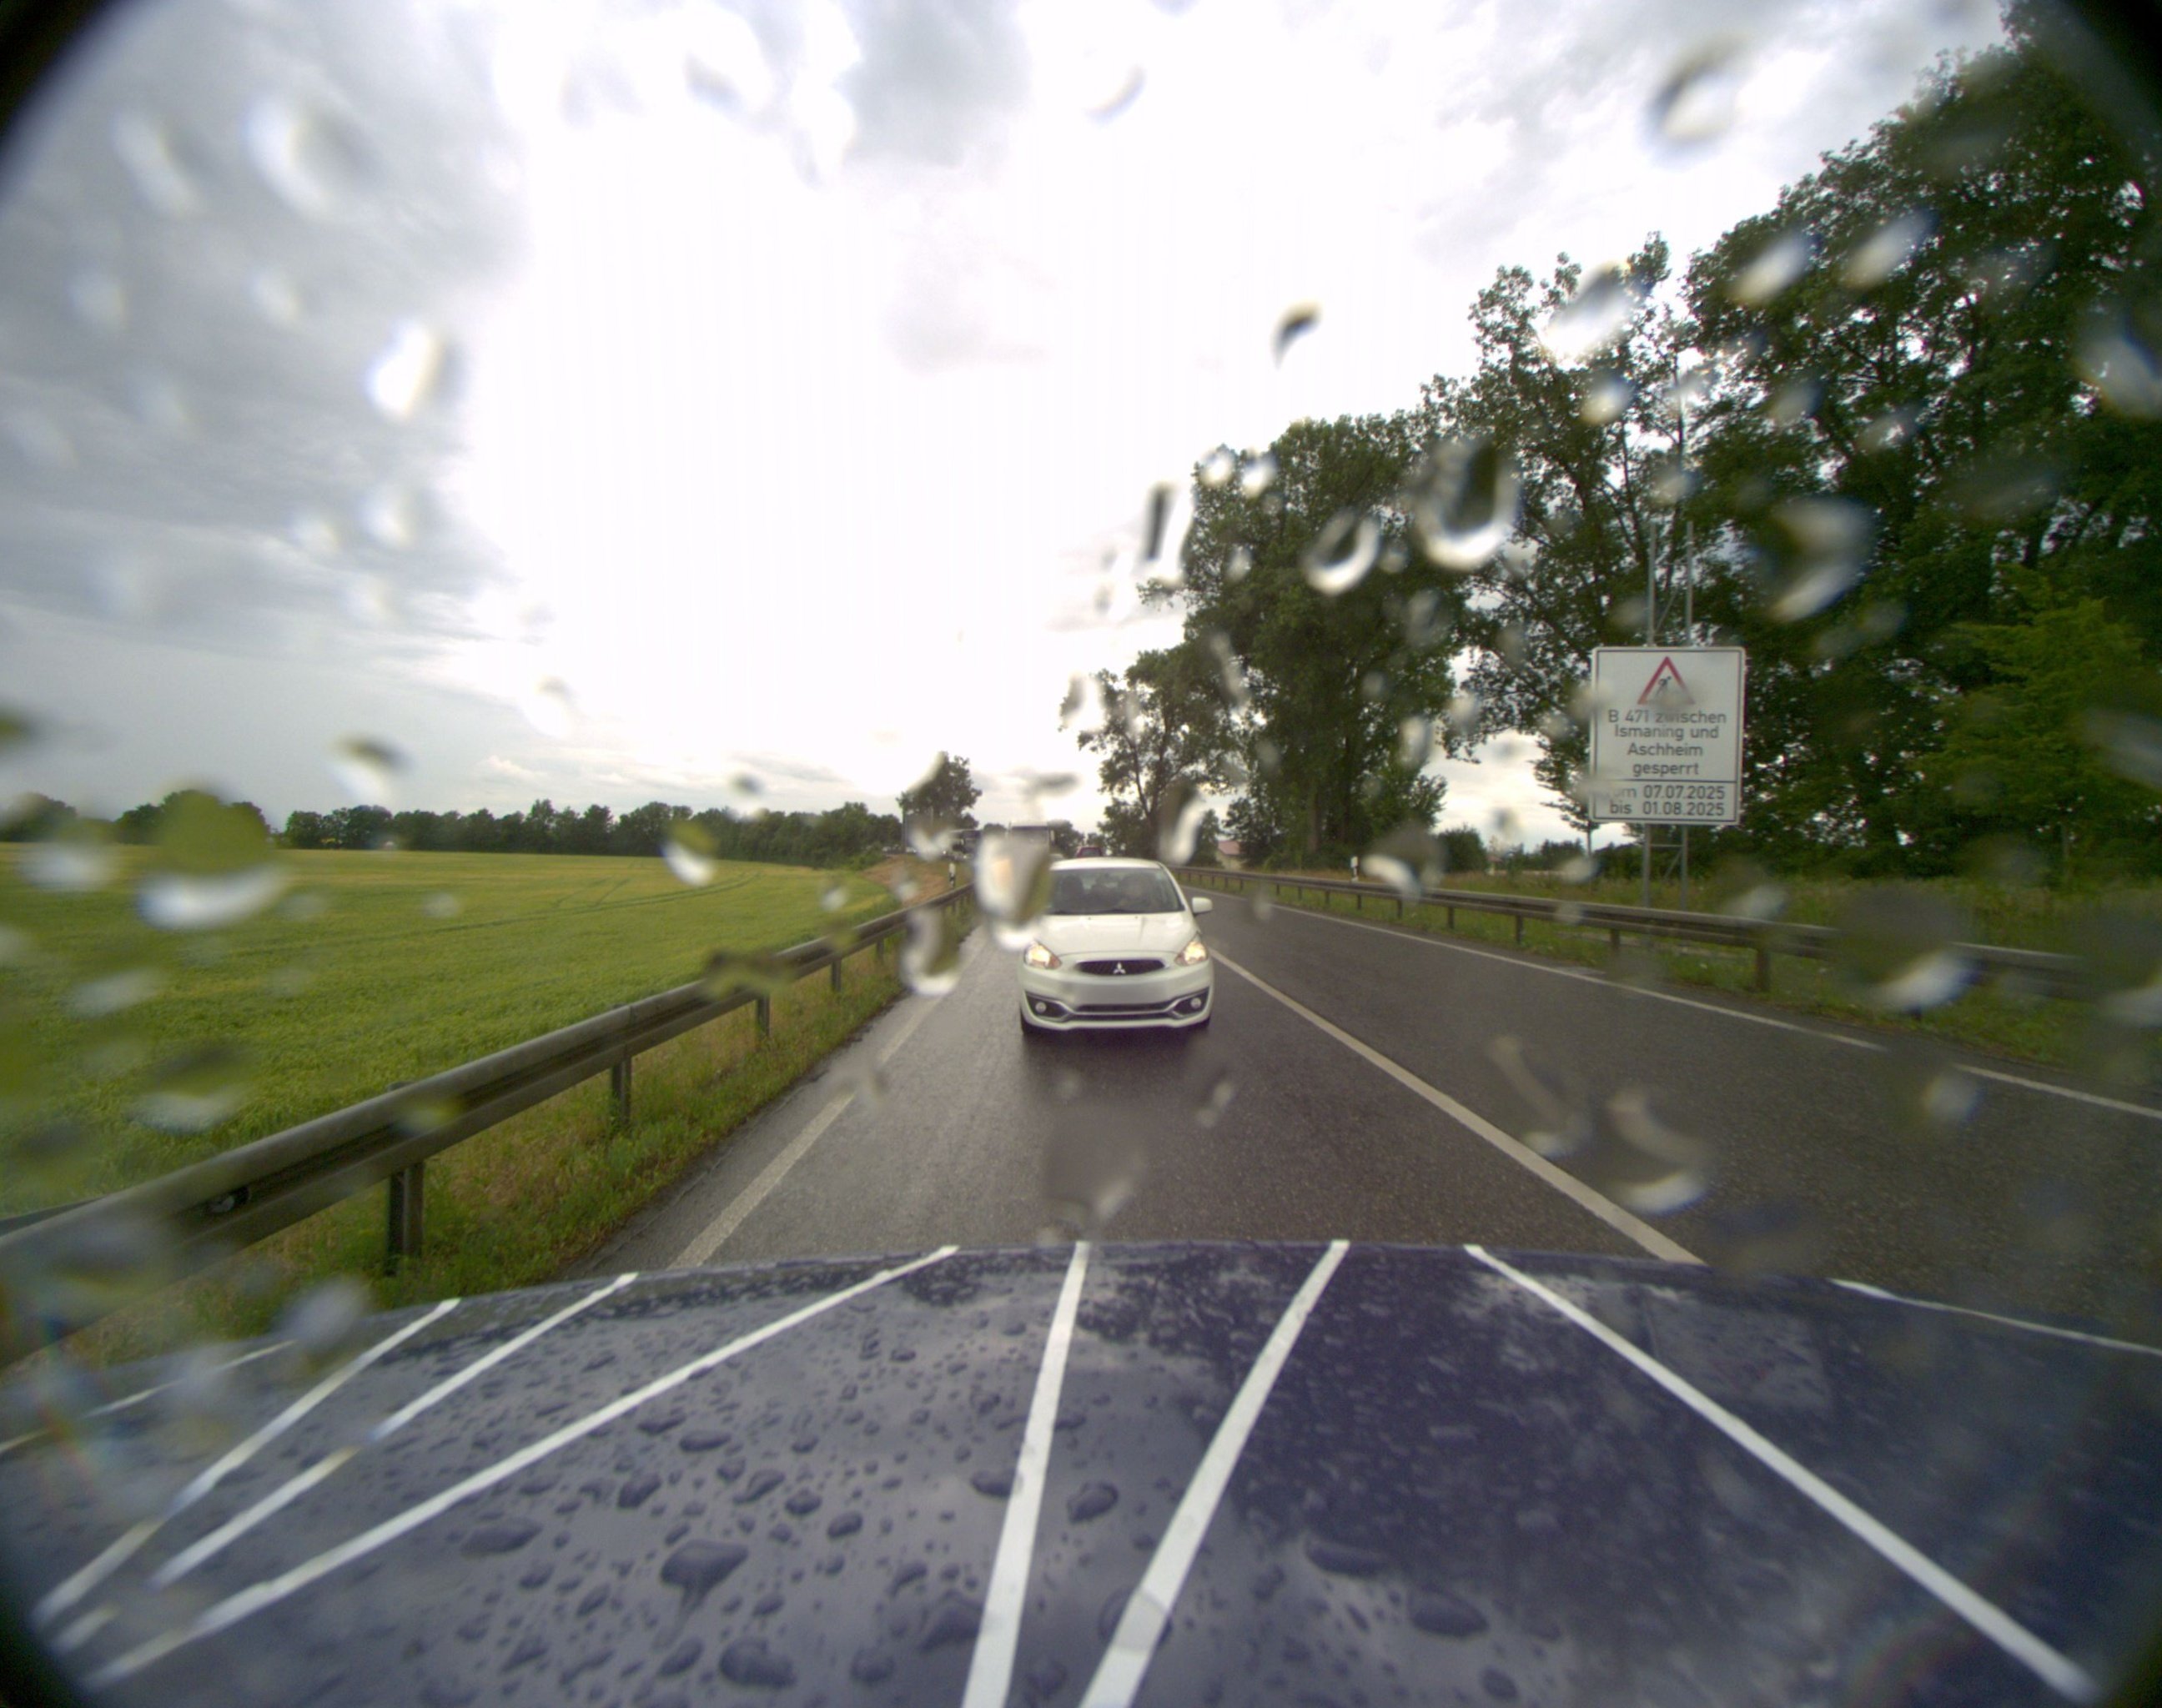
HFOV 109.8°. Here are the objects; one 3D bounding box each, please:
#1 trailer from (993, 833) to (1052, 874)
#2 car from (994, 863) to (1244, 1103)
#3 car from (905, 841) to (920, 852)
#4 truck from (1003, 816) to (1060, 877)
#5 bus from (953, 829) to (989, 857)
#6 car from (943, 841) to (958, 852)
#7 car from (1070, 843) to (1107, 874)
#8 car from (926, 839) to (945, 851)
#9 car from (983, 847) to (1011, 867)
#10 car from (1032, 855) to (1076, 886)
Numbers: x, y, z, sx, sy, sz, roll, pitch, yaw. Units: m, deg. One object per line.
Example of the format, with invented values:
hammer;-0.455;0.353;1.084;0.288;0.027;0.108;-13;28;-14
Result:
trailer;-4.678;-0.131;57.302;2.986;2.618;15.666;-2;1;-9
car;0.238;0.898;7.153;1.653;1.461;4.029;-2;1;-1
car;-34.202;-1.501;154.062;2.002;2.002;4.223;-2;1;-24
truck;-3.286;-0.508;48.854;2.986;3.589;6.074;-2;1;-9
bus;-14.593;-1.531;99.731;2.967;3.294;14.815;-2;2;-15
car;-20.280;-1.199;117.883;1.816;1.569;3.994;-2;1;-17
car;0.454;0.235;49.062;1.807;1.840;4.516;-1;1;-7
car;-25.589;-1.528;133.627;2.002;2.002;5.324;-2;1;-25
car;-8.264;0.240;74.370;2.044;1.832;5.329;-2;1;-13
car;-1.426;0.773;38.279;1.782;1.380;4.325;-2;1;-7
